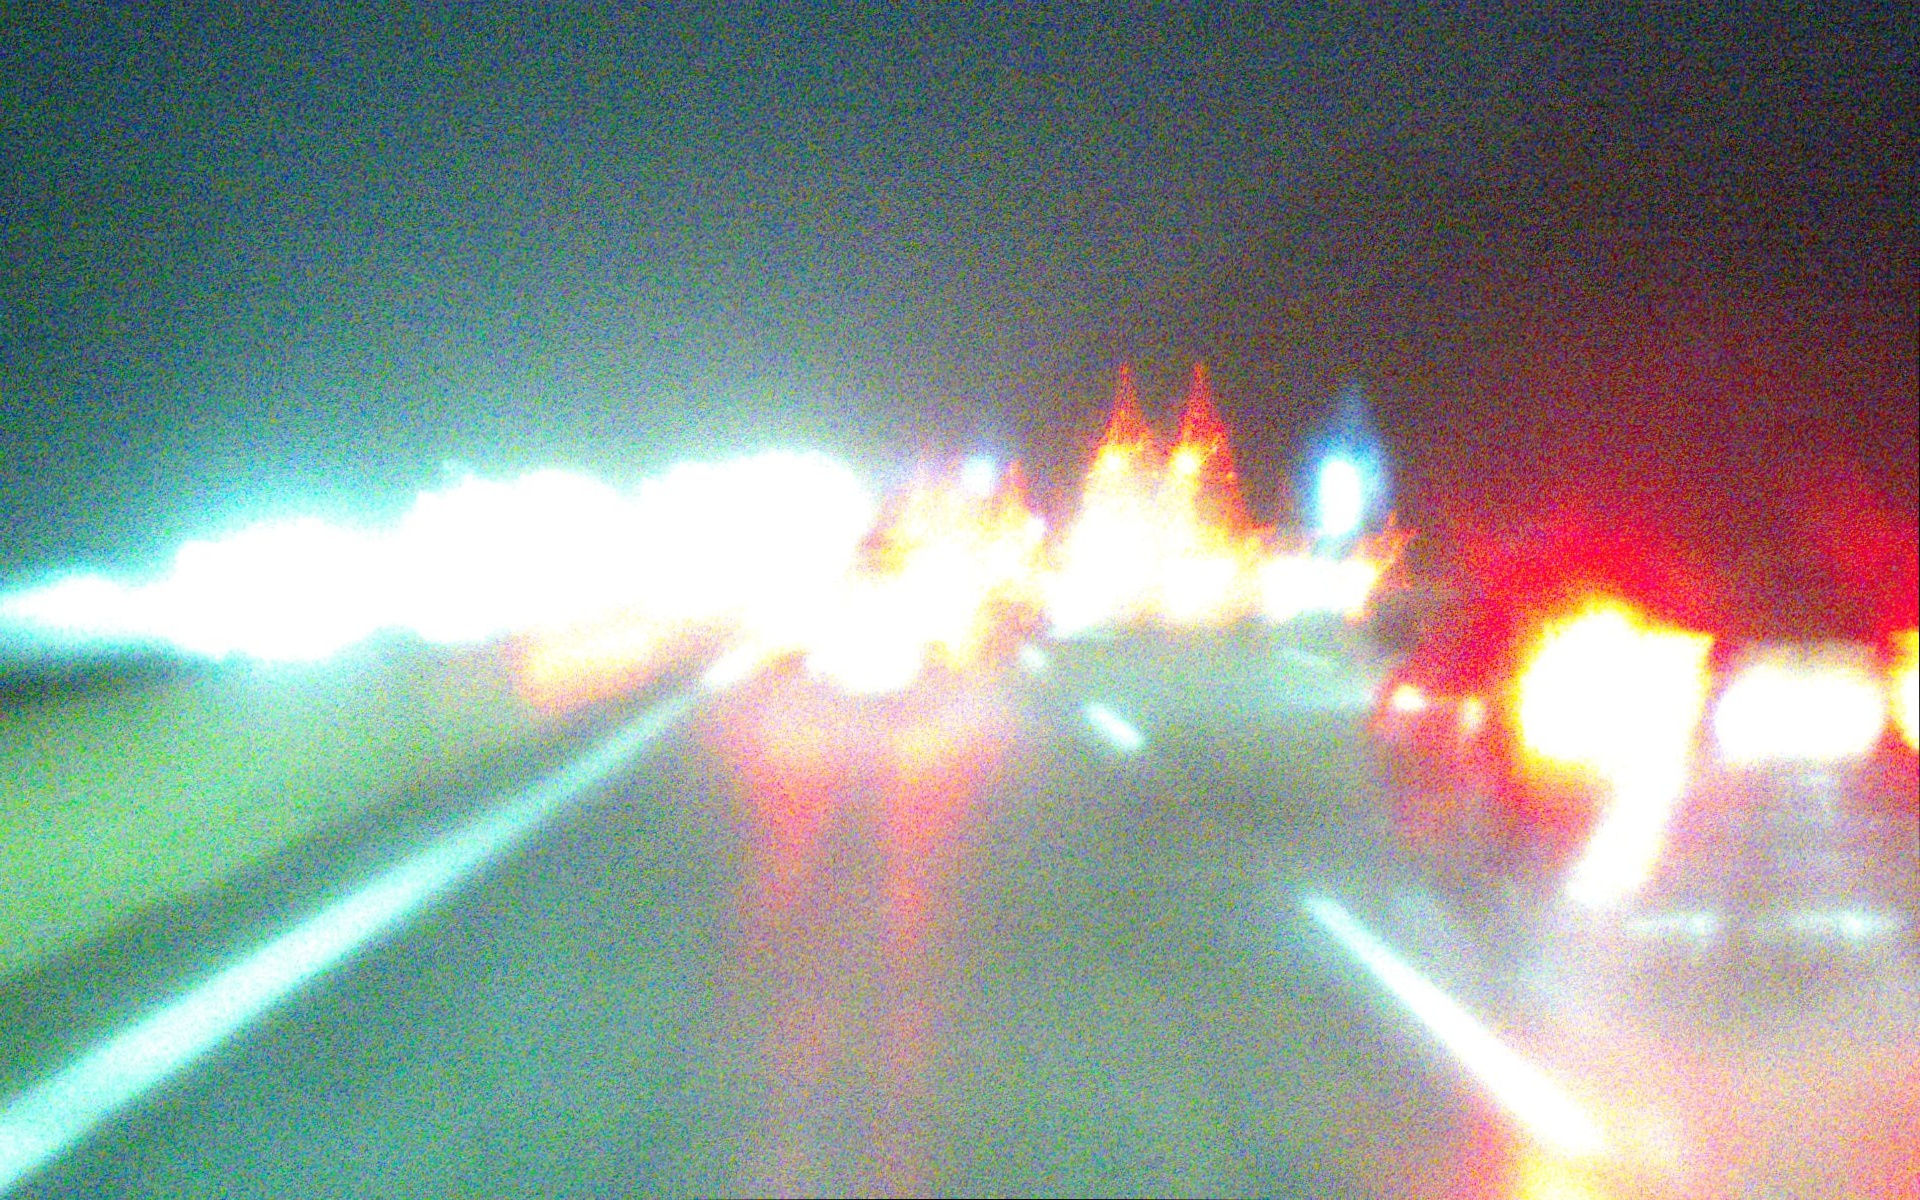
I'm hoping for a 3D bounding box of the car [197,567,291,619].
[{"bbox_3d":[-23.177,-0.246,111.418,1.893,1.577,5.371,1,1,0],"label":"car"}]

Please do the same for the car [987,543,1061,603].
[{"bbox_3d":[1.737,-0.763,94.733,1.884,1.583,4.000,0,1,-1],"label":"car"}]

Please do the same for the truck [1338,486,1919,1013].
[{"bbox_3d":[2.724,0.449,13.542,1.843,1.690,4.855,1,1,-1],"label":"truck"}]

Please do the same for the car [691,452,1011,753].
[{"bbox_3d":[-1.084,-0.059,33.022,2.709,2.525,5.832,-2,2,-3],"label":"car"}]

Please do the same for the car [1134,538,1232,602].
[{"bbox_3d":[5.502,-0.770,85.398,1.894,1.481,4.963,1,2,-2],"label":"car"}]

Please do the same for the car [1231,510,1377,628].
[{"bbox_3d":[6.266,-0.612,63.165,2.046,1.967,5.407,-2,2,0],"label":"car"}]

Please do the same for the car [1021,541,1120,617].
[{"bbox_3d":[2.079,-0.416,65.598,1.612,1.407,3.792,0,1,-2],"label":"car"}]

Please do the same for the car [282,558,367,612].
[{"bbox_3d":[-18.256,-0.453,98.904,1.782,1.417,4.354,-2,1,-3],"label":"car"}]
